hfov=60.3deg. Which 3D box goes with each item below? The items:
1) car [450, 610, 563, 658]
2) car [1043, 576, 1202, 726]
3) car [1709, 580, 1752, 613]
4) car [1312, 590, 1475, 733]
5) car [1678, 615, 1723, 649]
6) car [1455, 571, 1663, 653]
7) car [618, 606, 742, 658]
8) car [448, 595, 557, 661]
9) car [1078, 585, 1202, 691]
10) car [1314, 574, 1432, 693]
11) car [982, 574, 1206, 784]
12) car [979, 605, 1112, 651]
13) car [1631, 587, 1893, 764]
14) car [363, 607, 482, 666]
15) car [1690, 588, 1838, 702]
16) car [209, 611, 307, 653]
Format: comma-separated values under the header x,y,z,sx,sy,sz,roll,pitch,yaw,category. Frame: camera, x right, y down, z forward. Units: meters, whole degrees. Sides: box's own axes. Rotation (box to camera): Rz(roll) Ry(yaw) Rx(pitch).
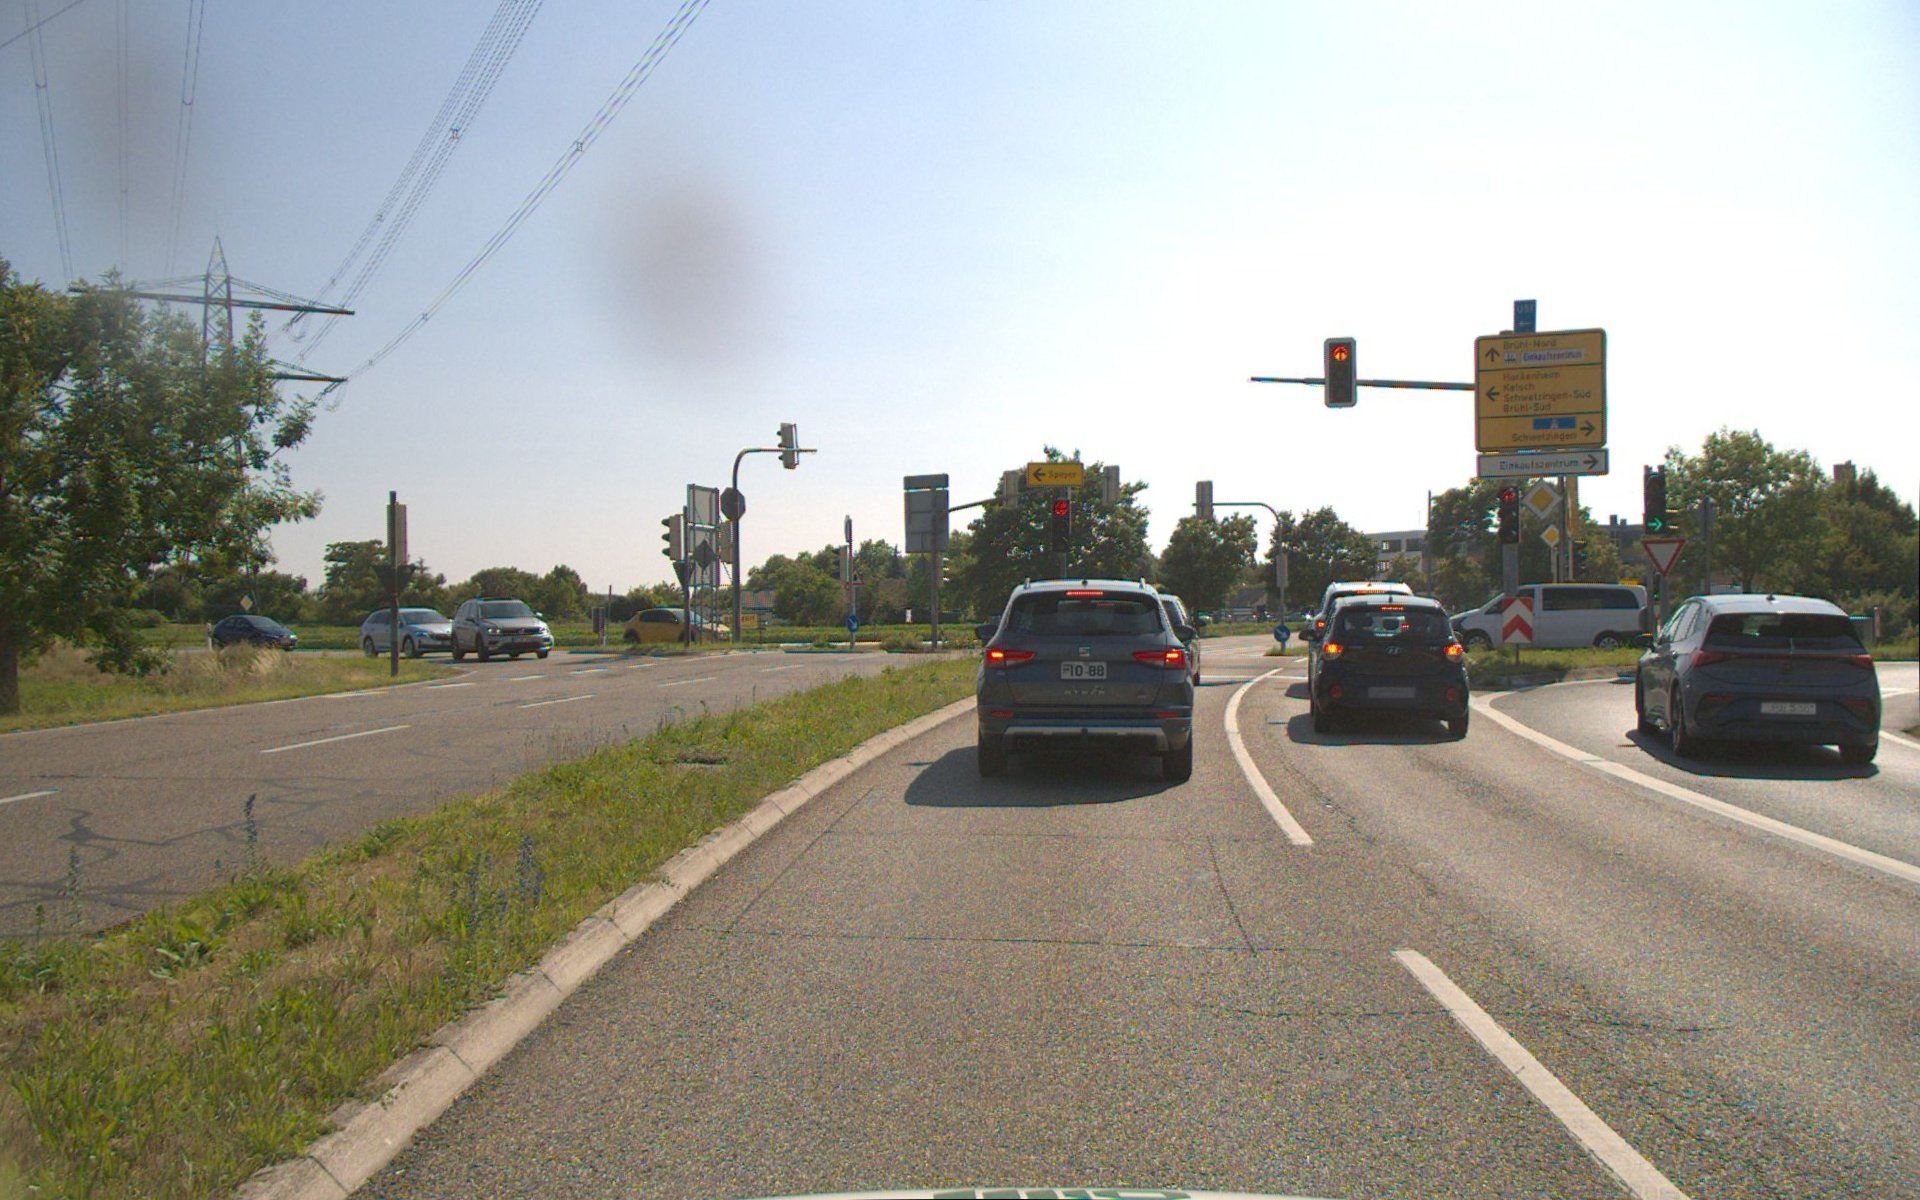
x,y,z,sx,sy,sz,roll,pitch,yaw,category
-16.541,1.221,60.274,3.915,1.680,1.815,-1,0,33,car
1.940,0.562,19.912,1.705,1.596,3.626,1,0,5,car
52.944,-0.255,113.607,1.896,2.174,4.625,1,0,34,car
4.909,0.637,19.063,1.598,1.473,3.298,1,0,11,car
39.188,1.669,87.490,1.842,1.702,3.763,1,0,30,car
15.180,0.275,41.998,4.831,1.951,2.000,1,1,22,car
-9.376,1.059,55.333,3.915,1.680,1.815,-1,0,33,car
-12.384,0.743,44.612,1.797,1.680,3.956,0,0,-32,car
2.887,0.563,25.979,1.705,1.510,3.627,1,0,10,car
6.430,0.488,26.026,1.598,1.706,3.753,1,0,11,car
1.155,0.603,14.444,1.705,1.596,3.626,0,0,4,car
2.758,0.886,53.845,4.015,1.441,1.713,-1,0,31,car
8.039,0.654,16.943,1.735,1.544,4.102,0,1,16,car
-16.232,1.074,49.862,3.933,1.680,1.807,-1,0,45,car
11.422,0.573,23.372,1.611,1.410,3.993,-1,1,30,car
-28.882,1.309,68.039,3.915,1.680,1.815,-1,0,33,car
